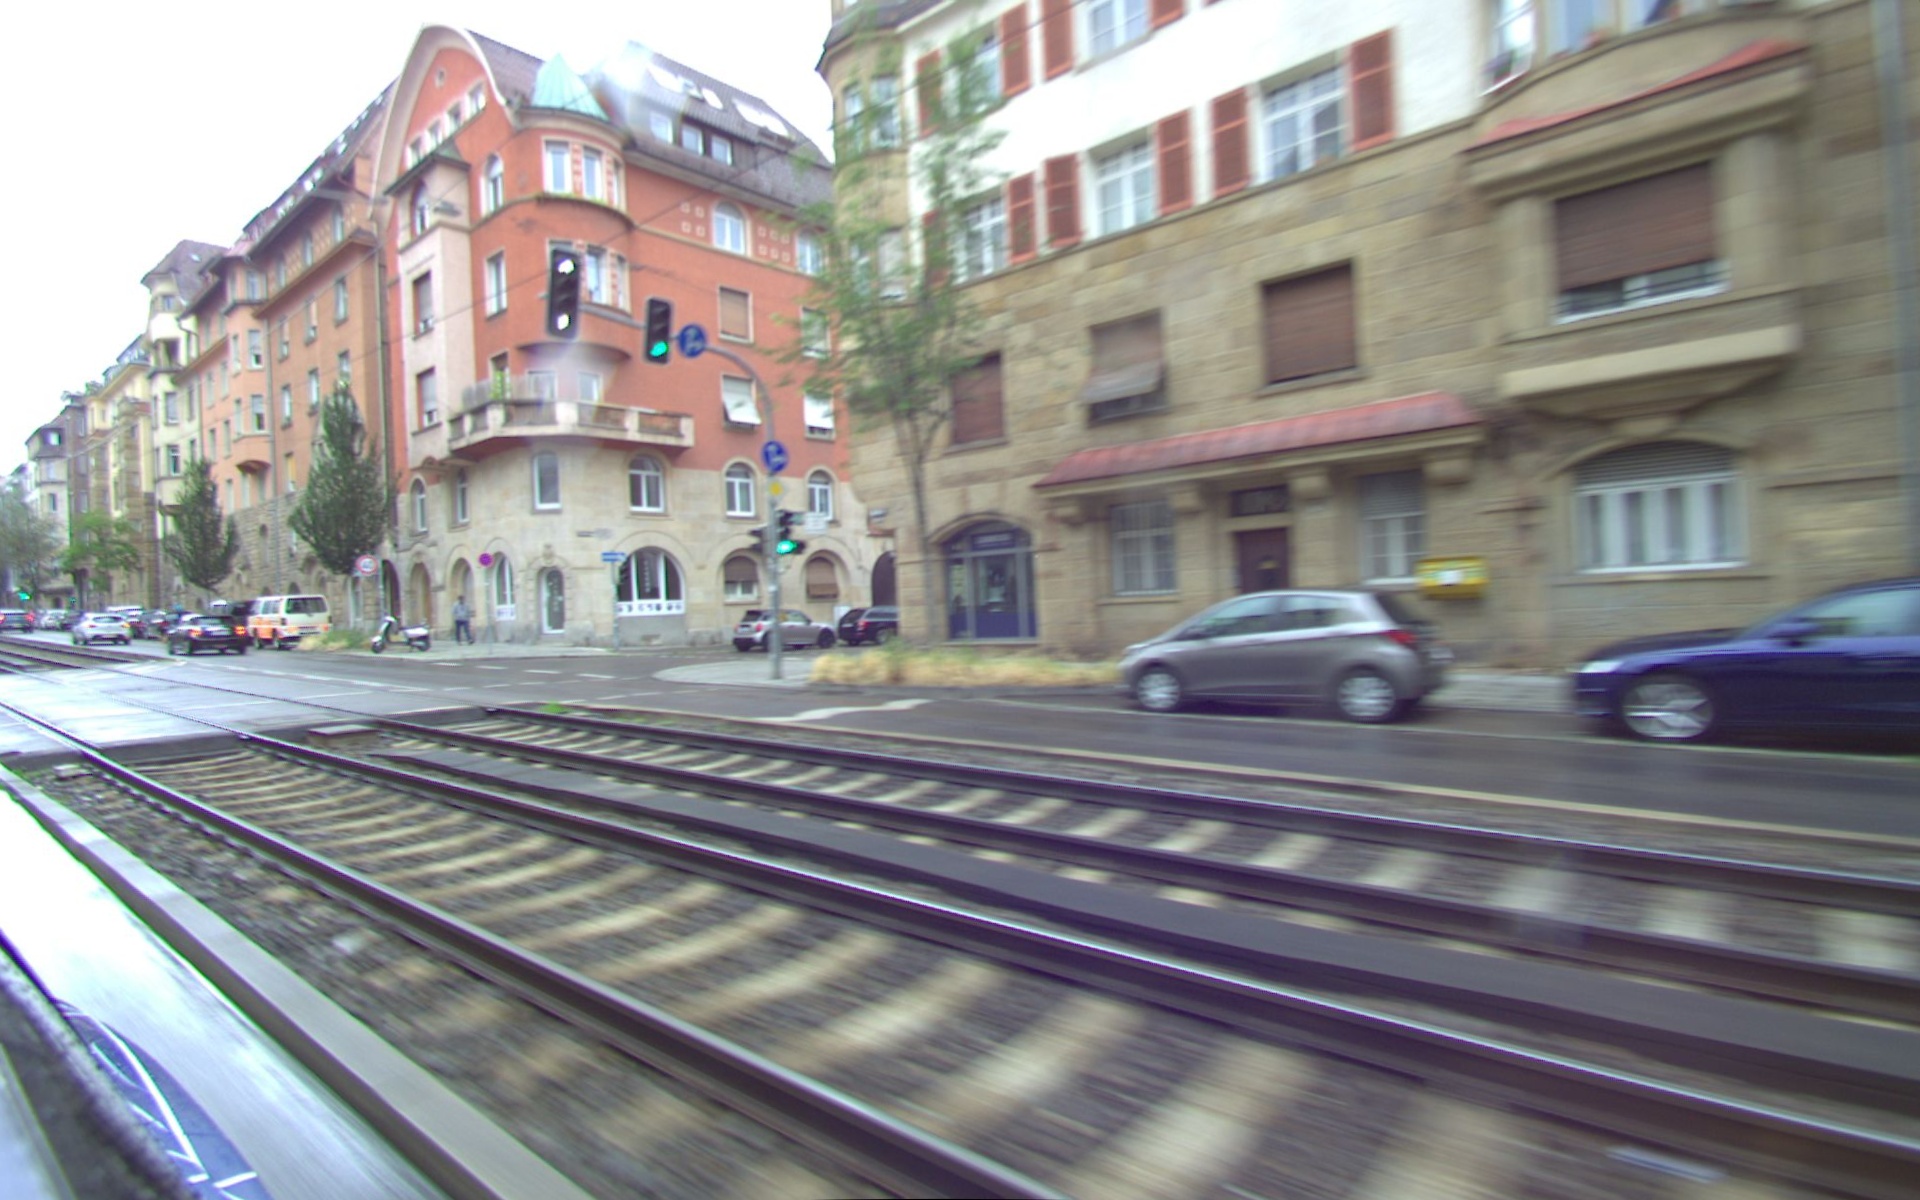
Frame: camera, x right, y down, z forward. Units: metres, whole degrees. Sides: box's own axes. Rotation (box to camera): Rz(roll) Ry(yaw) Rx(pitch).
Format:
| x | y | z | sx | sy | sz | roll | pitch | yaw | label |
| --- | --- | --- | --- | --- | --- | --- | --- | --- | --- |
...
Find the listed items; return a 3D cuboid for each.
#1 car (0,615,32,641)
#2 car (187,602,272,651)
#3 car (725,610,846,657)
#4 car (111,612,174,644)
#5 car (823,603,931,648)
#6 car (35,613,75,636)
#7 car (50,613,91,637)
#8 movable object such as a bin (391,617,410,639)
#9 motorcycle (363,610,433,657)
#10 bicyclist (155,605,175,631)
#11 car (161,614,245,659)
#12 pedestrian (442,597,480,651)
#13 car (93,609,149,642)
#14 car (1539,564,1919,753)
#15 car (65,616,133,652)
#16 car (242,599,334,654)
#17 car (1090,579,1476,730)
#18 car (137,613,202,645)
| x | y | z | sx | sy | sz | roll | pitch | yaw | label |
| --- | --- | --- | --- | --- | --- | --- | --- | --- | --- |
| -64.349 | 1.882 | 68.395 | 4.126 | 1.629 | 1.902 | 0 | 0 | 40 | car |
| -31.050 | 1.067 | 42.942 | 4.830 | 1.945 | 1.886 | 0 | 0 | 41 | car |
| -6.015 | 1.108 | 35.241 | 1.746 | 1.478 | 3.945 | 0 | 0 | 41 | car |
| -43.679 | 1.464 | 54.033 | 4.594 | 1.502 | 1.738 | 0 | 2 | 40 | car |
| -3.104 | 0.923 | 38.635 | 1.997 | 1.586 | 3.950 | 0 | 0 | 37 | car |
| -66.381 | 1.784 | 74.212 | 4.043 | 1.462 | 1.736 | 0 | 3 | 43 | car |
| -61.742 | 1.690 | 70.224 | 3.712 | 1.493 | 1.695 | 0 | 3 | 43 | car |
| -23.840 | 1.181 | 43.140 | 0.656 | 0.905 | 0.540 | 0 | 0 | 45 | movable object such as a bin |
| -17.244 | 1.016 | 31.096 | 1.754 | 1.385 | 0.770 | -1 | 0 | -17 | motorcycle |
| -50.277 | 1.144 | 64.007 | 0.774 | 1.613 | 0.883 | -1 | 0 | 41 | bicyclist |
| -26.411 | 1.236 | 35.256 | 3.733 | 1.474 | 1.636 | -1 | -1 | 42 | car |
| -16.864 | 0.797 | 34.209 | 0.892 | 1.731 | 0.709 | 0 | 6 | 42 | pedestrian |
| -47.923 | 1.415 | 57.784 | 4.257 | 1.684 | 1.737 | 0 | 3 | 41 | car |
| 7.920 | 0.449 | 8.615 | 4.975 | 1.471 | 1.763 | 0 | 0 | 40 | car |
| -40.087 | 1.553 | 47.099 | 4.059 | 1.514 | 1.763 | 0 | 0 | 40 | car |
| -25.266 | 0.945 | 37.973 | 4.473 | 1.945 | 1.711 | 0 | 0 | 40 | car |
| 3.802 | 0.562 | 12.340 | 4.173 | 1.541 | 1.673 | 0 | 0 | 40 | car |
| -39.834 | 1.443 | 50.983 | 3.691 | 1.414 | 1.738 | 0 | 2 | 39 | car |
